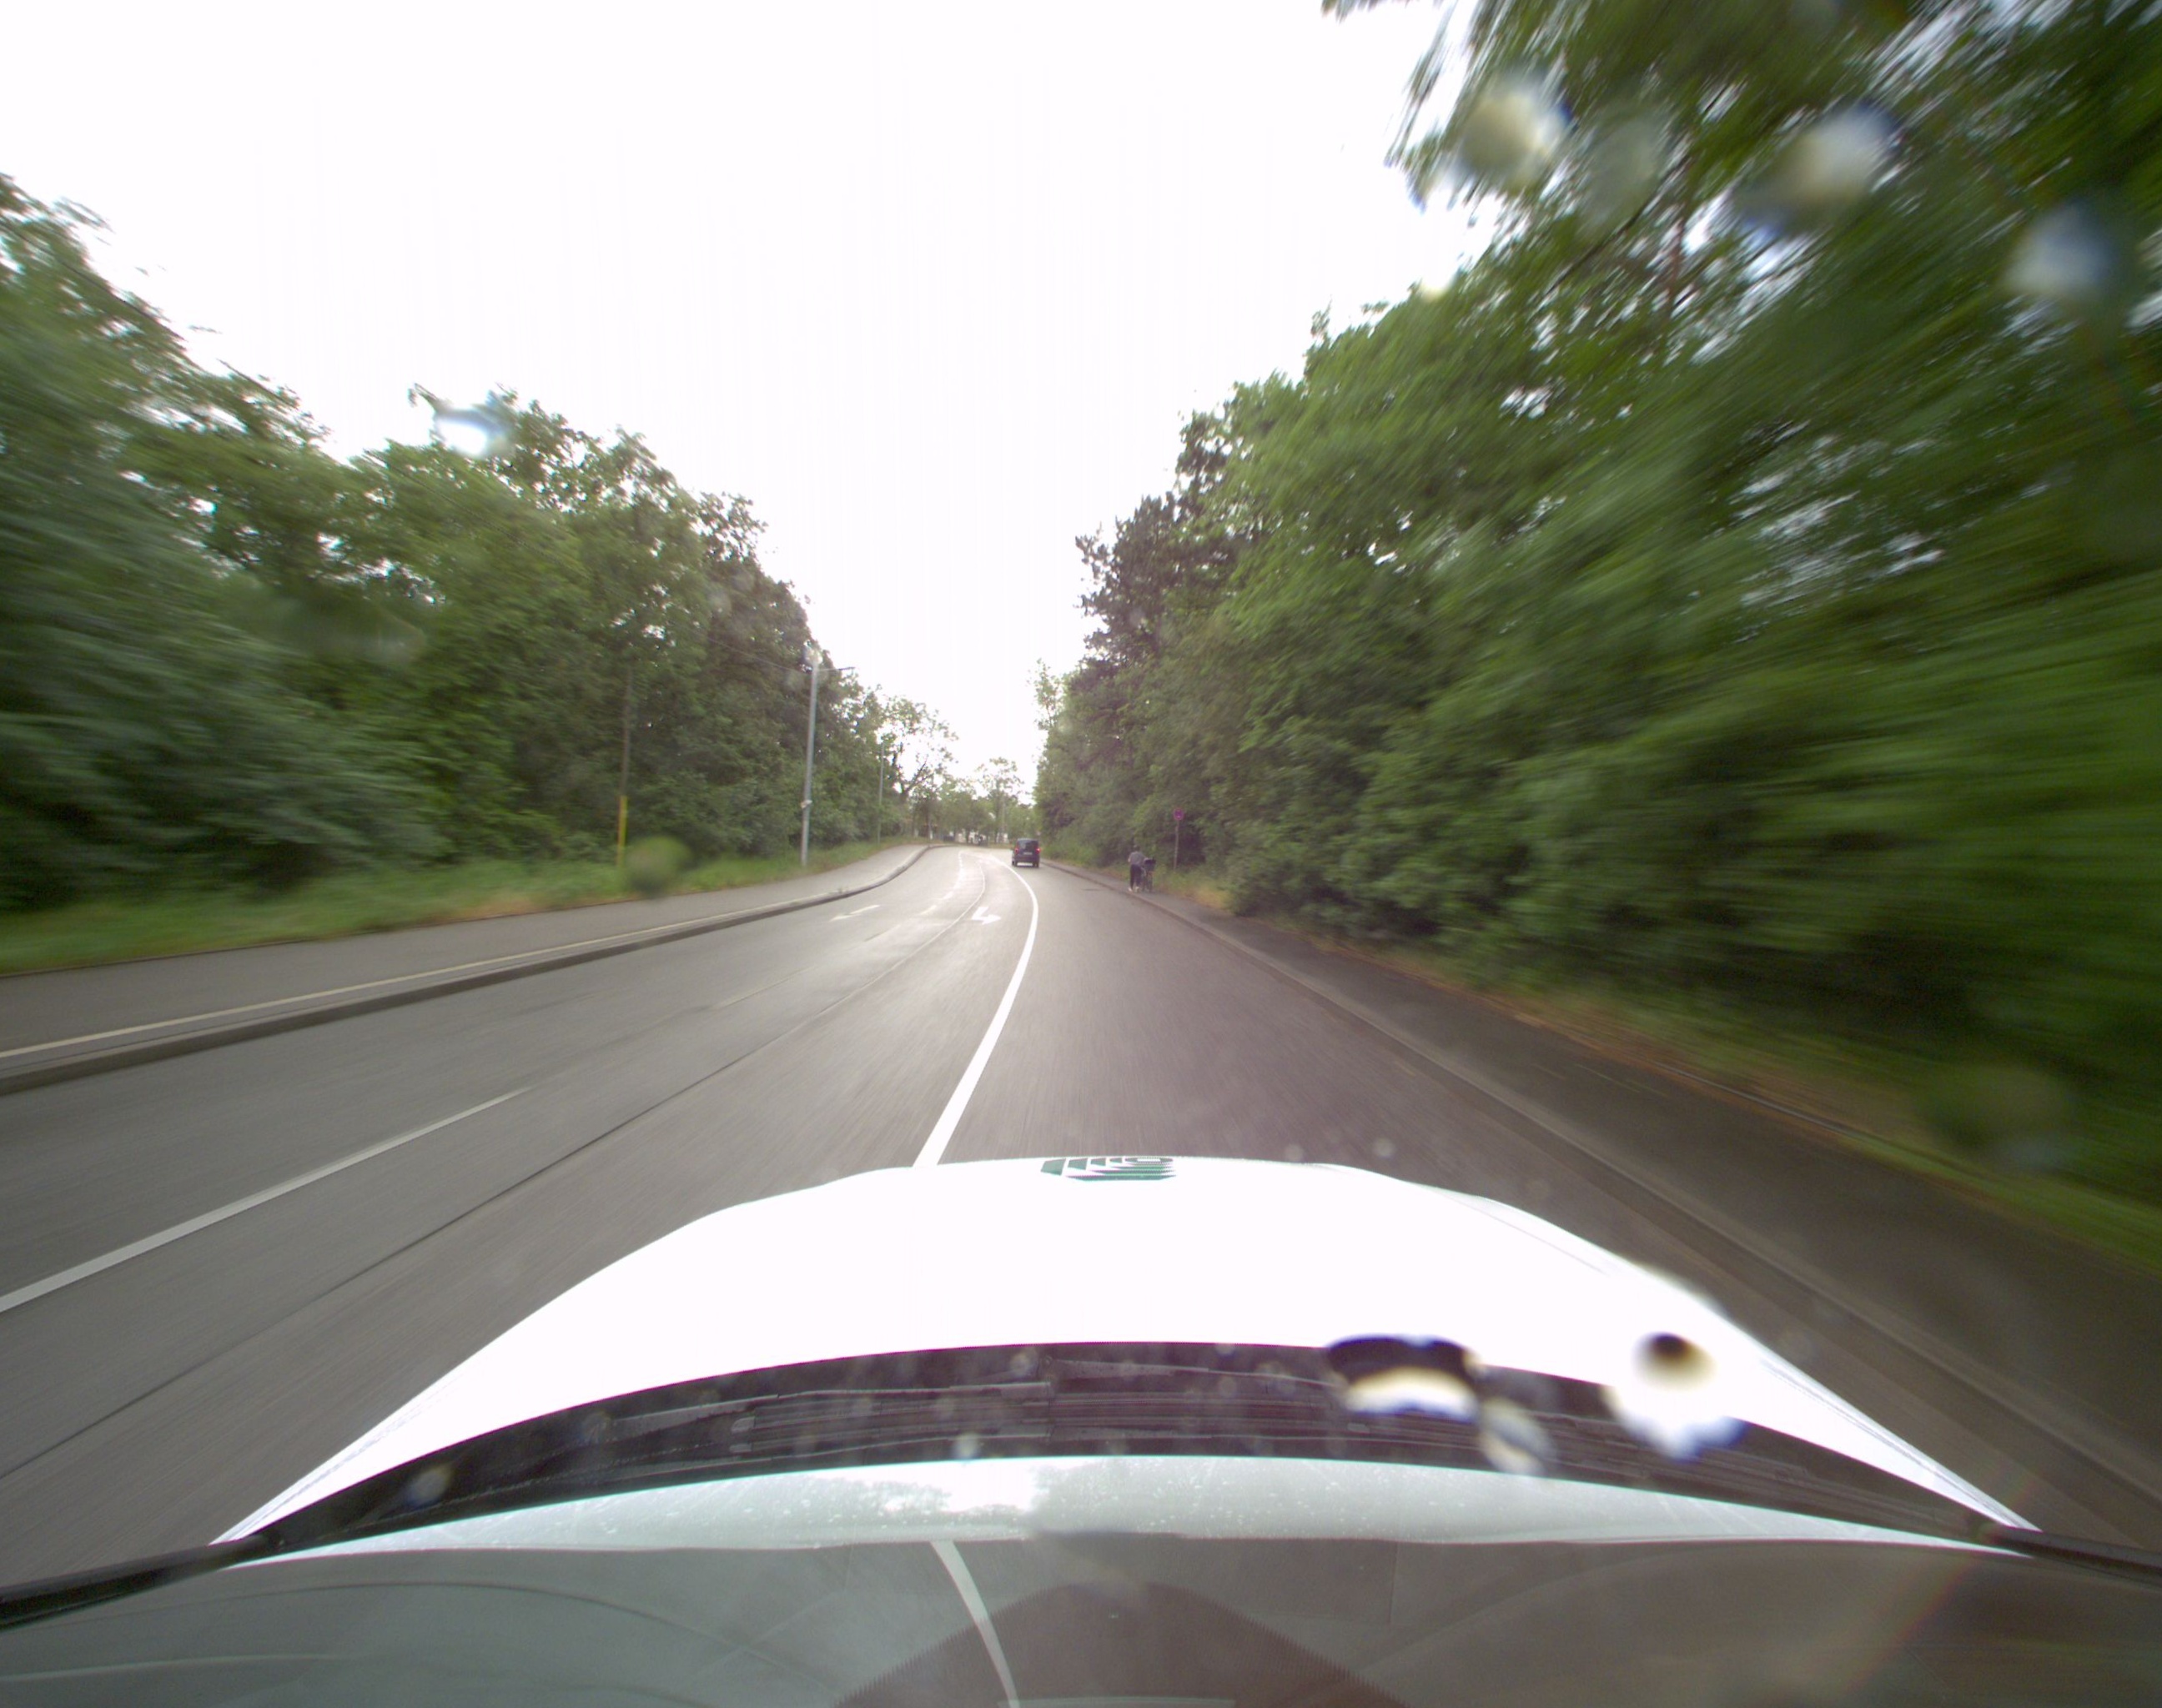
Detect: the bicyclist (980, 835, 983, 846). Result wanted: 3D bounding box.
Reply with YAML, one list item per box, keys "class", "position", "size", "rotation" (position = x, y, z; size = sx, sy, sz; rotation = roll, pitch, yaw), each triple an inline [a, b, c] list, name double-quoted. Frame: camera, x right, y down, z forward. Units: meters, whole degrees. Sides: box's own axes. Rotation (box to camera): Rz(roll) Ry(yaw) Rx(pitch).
- class: "bicyclist"
  position: [-14.813, -1.978, 121.552]
  size: [0.335, 1.574, 1.296]
  rotation: [2, 1, -5]

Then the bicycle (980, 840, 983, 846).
- class: "bicycle"
  position: [-14.813, -1.639, 121.543]
  size: [0.355, 0.849, 2.090]
  rotation: [1, 2, -5]

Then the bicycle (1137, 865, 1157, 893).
- class: "bicycle"
  position: [2.264, 0.832, 28.084]
  size: [0.355, 0.849, 1.740]
  rotation: [-2, 2, -5]

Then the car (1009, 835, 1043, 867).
- class: "car"
  position: [-3.667, -0.255, 53.988]
  size: [1.827, 1.793, 3.989]
  rotation: [4, 3, -9]

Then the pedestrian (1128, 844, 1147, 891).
- class: "pedestrian"
  position: [1.936, 0.461, 27.953]
  size: [0.563, 1.577, 0.768]
  rotation: [0, -2, -5]
